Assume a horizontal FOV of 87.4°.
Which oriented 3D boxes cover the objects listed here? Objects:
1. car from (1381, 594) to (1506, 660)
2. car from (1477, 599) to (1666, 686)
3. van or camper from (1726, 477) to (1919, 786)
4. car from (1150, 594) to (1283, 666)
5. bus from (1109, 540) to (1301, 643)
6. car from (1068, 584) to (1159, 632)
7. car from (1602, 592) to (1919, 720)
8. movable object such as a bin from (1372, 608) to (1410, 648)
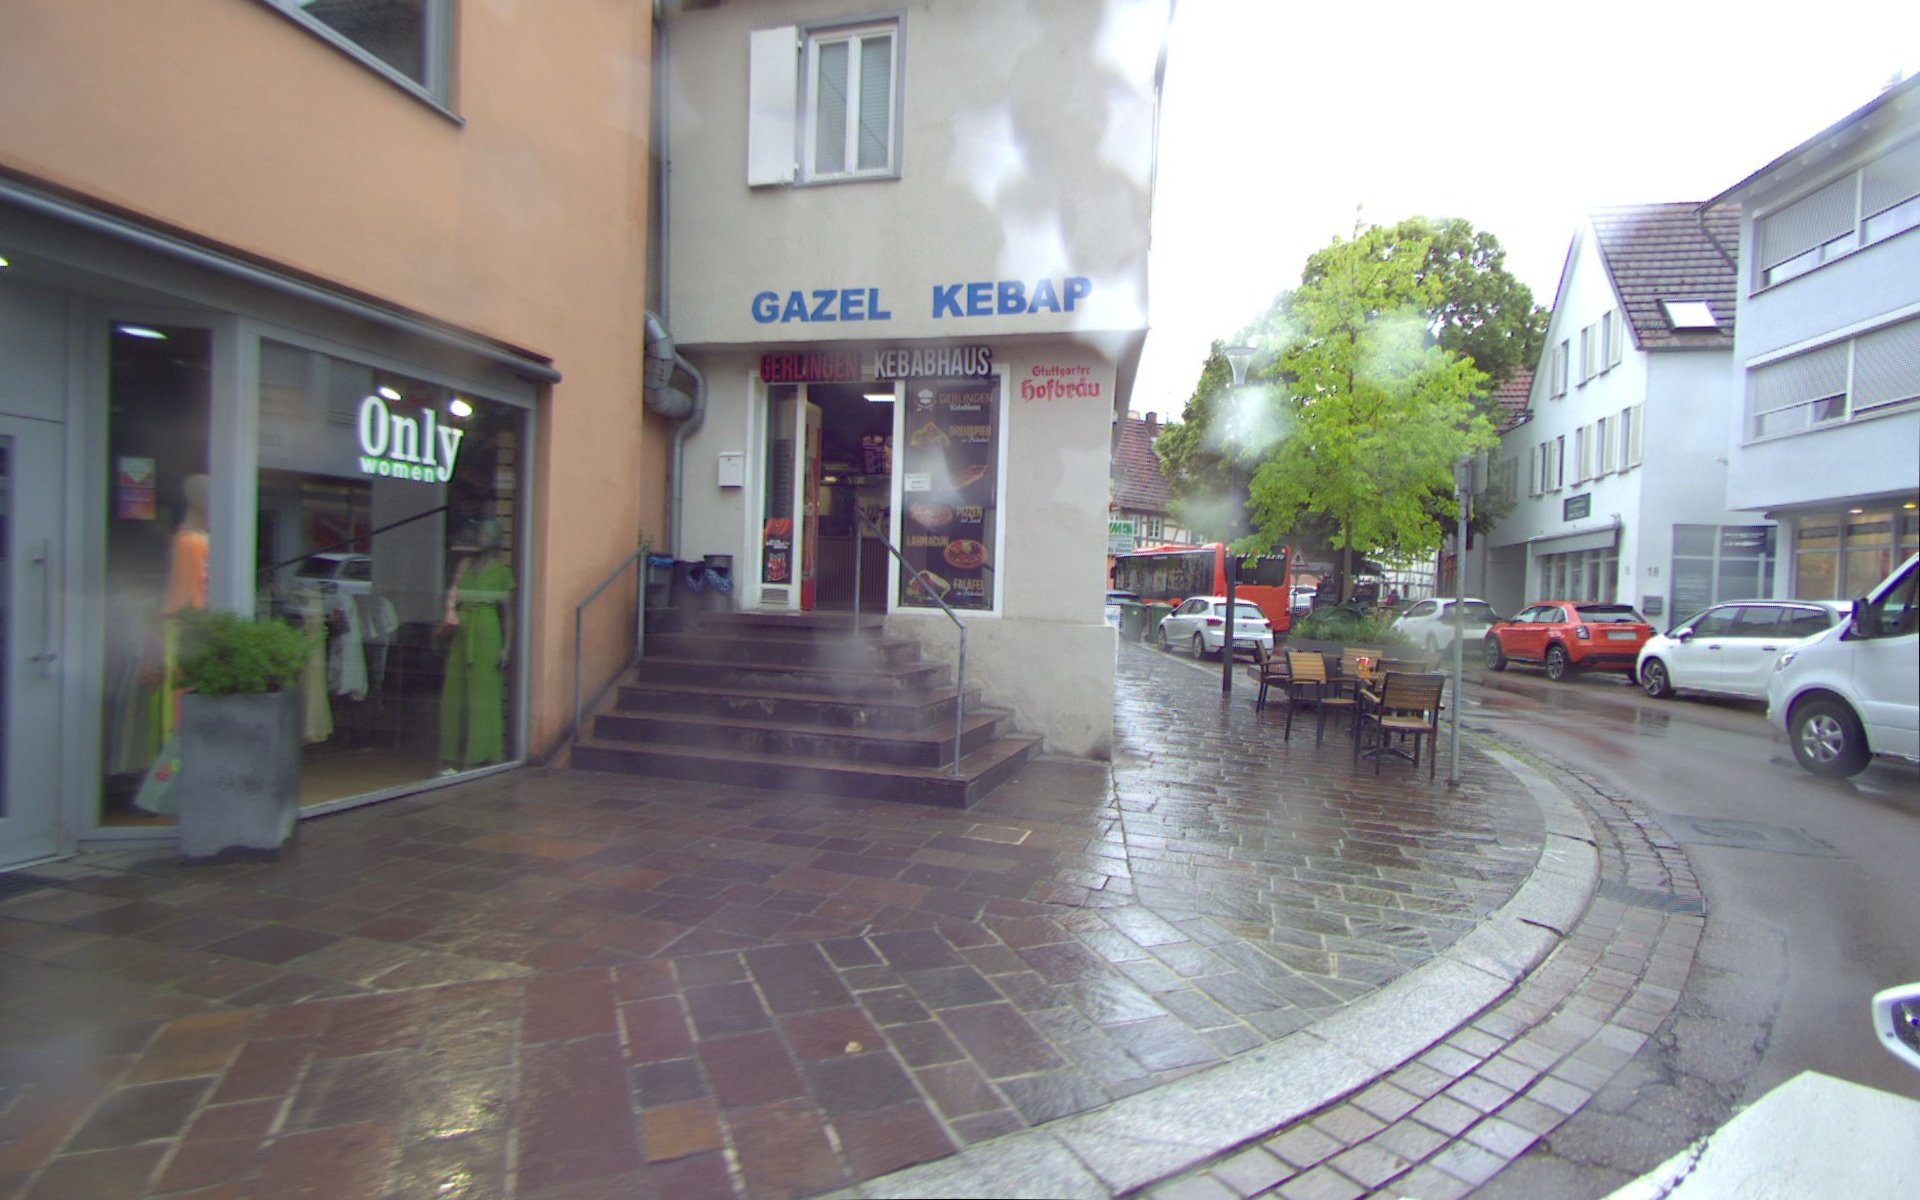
[{"bbox_3d":[12.522,0.643,26.291,1.648,1.549,3.800,1,1,4],"label":"car"},{"bbox_3d":[12.274,0.788,20.450,1.649,1.549,3.800,1,1,3],"label":"car"},{"bbox_3d":[9.418,0.339,7.157,2.399,2.620,6.747,3,1,-3],"label":"van or camper"},{"bbox_3d":[6.037,0.653,24.143,1.695,1.433,3.976,4,1,-7],"label":"car"},{"bbox_3d":[8.253,-0.314,35.838,2.771,3.130,10.589,0,1,-9],"label":"bus"},{"bbox_3d":[5.269,0.238,34.999,1.698,1.433,3.968,2,1,-14],"label":"car"},{"bbox_3d":[12.155,0.754,15.417,1.746,1.652,4.470,1,0,1],"label":"car"},{"bbox_3d":[12.563,0.812,29.274,0.819,1.127,0.561,2,0,-2],"label":"movable object such as a bin"}]
